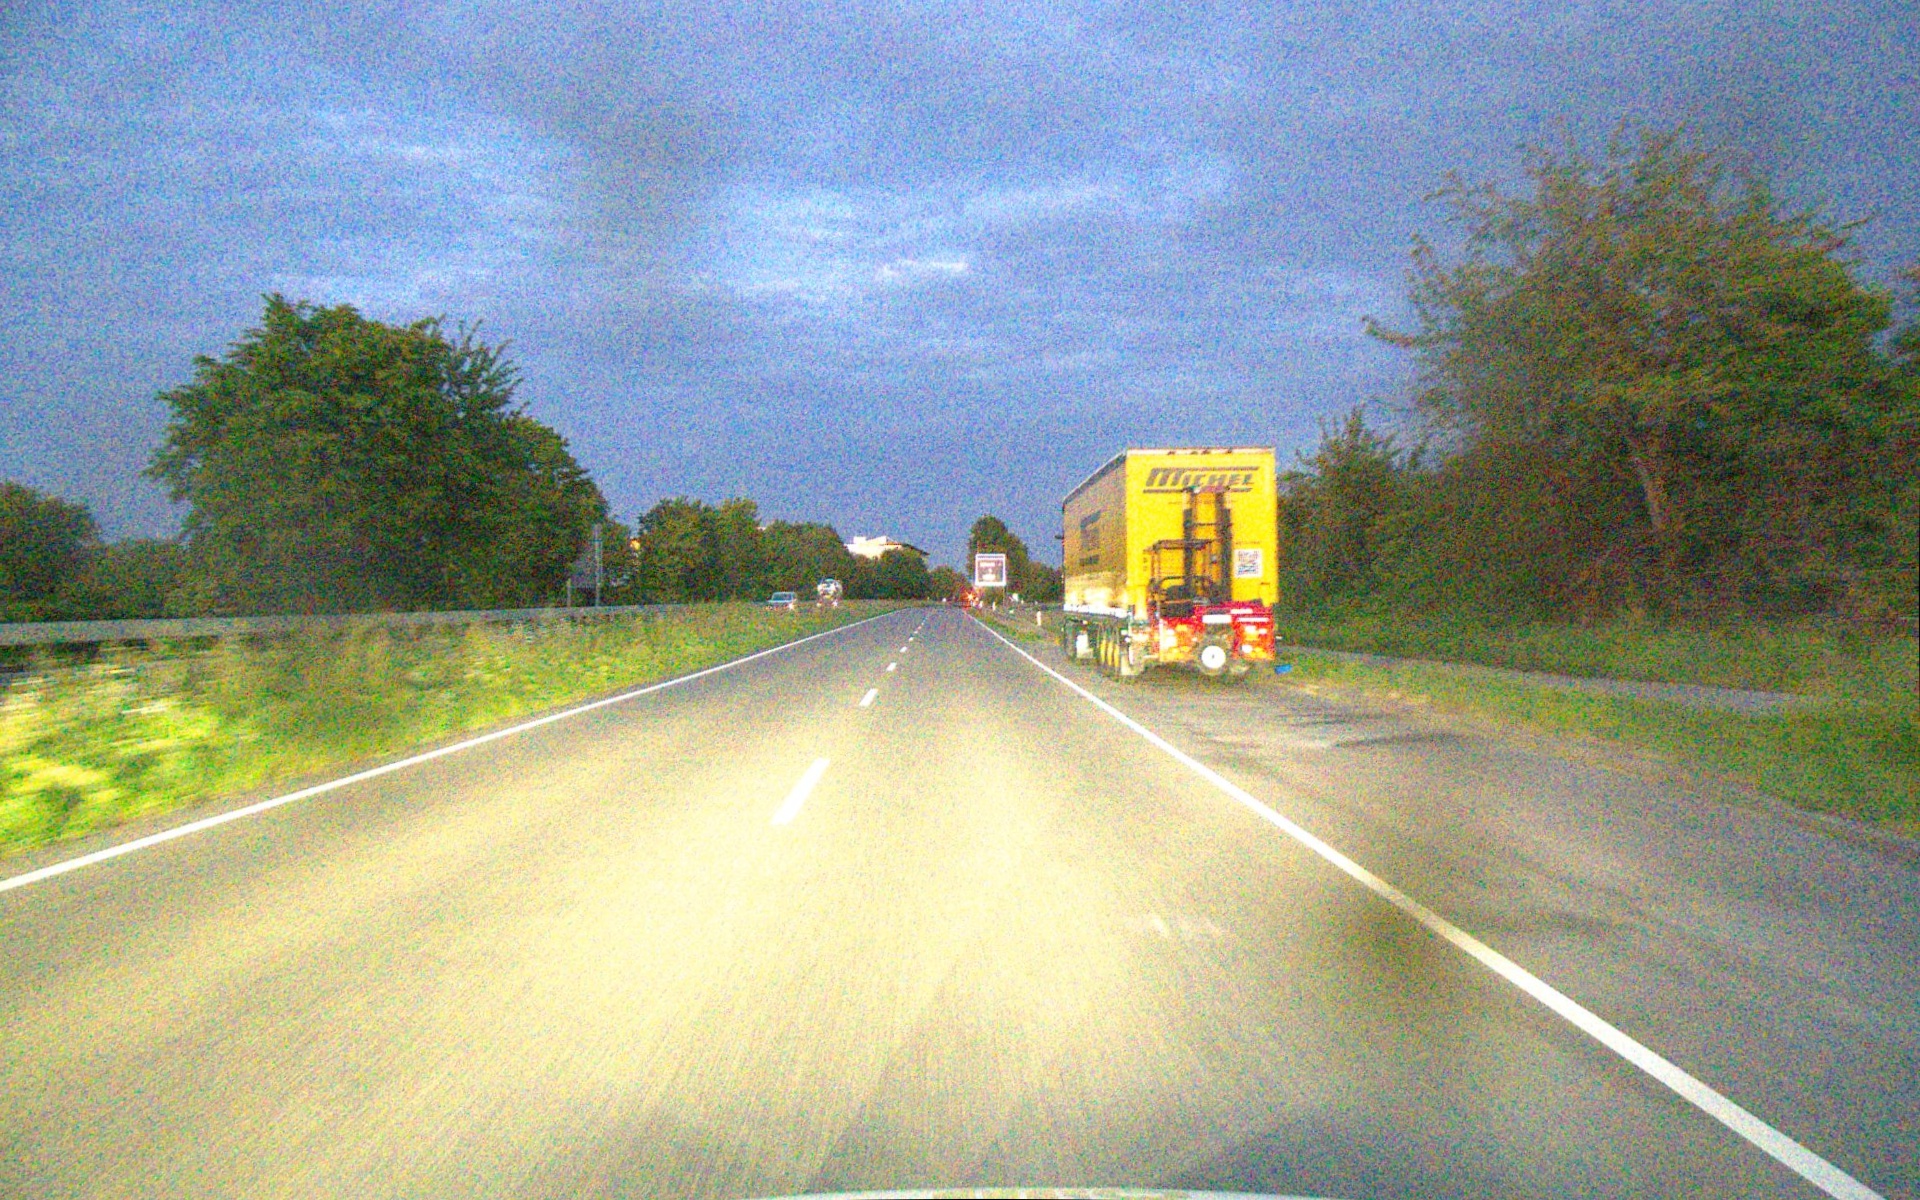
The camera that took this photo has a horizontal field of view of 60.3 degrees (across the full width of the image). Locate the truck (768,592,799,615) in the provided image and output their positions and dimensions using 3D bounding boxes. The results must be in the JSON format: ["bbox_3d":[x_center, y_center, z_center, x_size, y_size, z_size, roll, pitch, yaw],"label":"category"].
[{"bbox_3d":[-13.566,0.300,127.226,1.975,1.681,4.772,2,0,-2],"label":"truck"}]

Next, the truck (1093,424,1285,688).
[{"bbox_3d":[3.887,-0.731,29.388,2.526,4.142,6.130,1,0,0],"label":"truck"}]

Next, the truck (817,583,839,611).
[{"bbox_3d":[-16.981,-0.359,212.877,2.173,3.505,6.714,2,0,0],"label":"truck"}]

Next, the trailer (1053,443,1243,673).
[{"bbox_3d":[3.783,-0.777,36.605,2.568,4.176,12.935,0,0,-1],"label":"trailer"}]
